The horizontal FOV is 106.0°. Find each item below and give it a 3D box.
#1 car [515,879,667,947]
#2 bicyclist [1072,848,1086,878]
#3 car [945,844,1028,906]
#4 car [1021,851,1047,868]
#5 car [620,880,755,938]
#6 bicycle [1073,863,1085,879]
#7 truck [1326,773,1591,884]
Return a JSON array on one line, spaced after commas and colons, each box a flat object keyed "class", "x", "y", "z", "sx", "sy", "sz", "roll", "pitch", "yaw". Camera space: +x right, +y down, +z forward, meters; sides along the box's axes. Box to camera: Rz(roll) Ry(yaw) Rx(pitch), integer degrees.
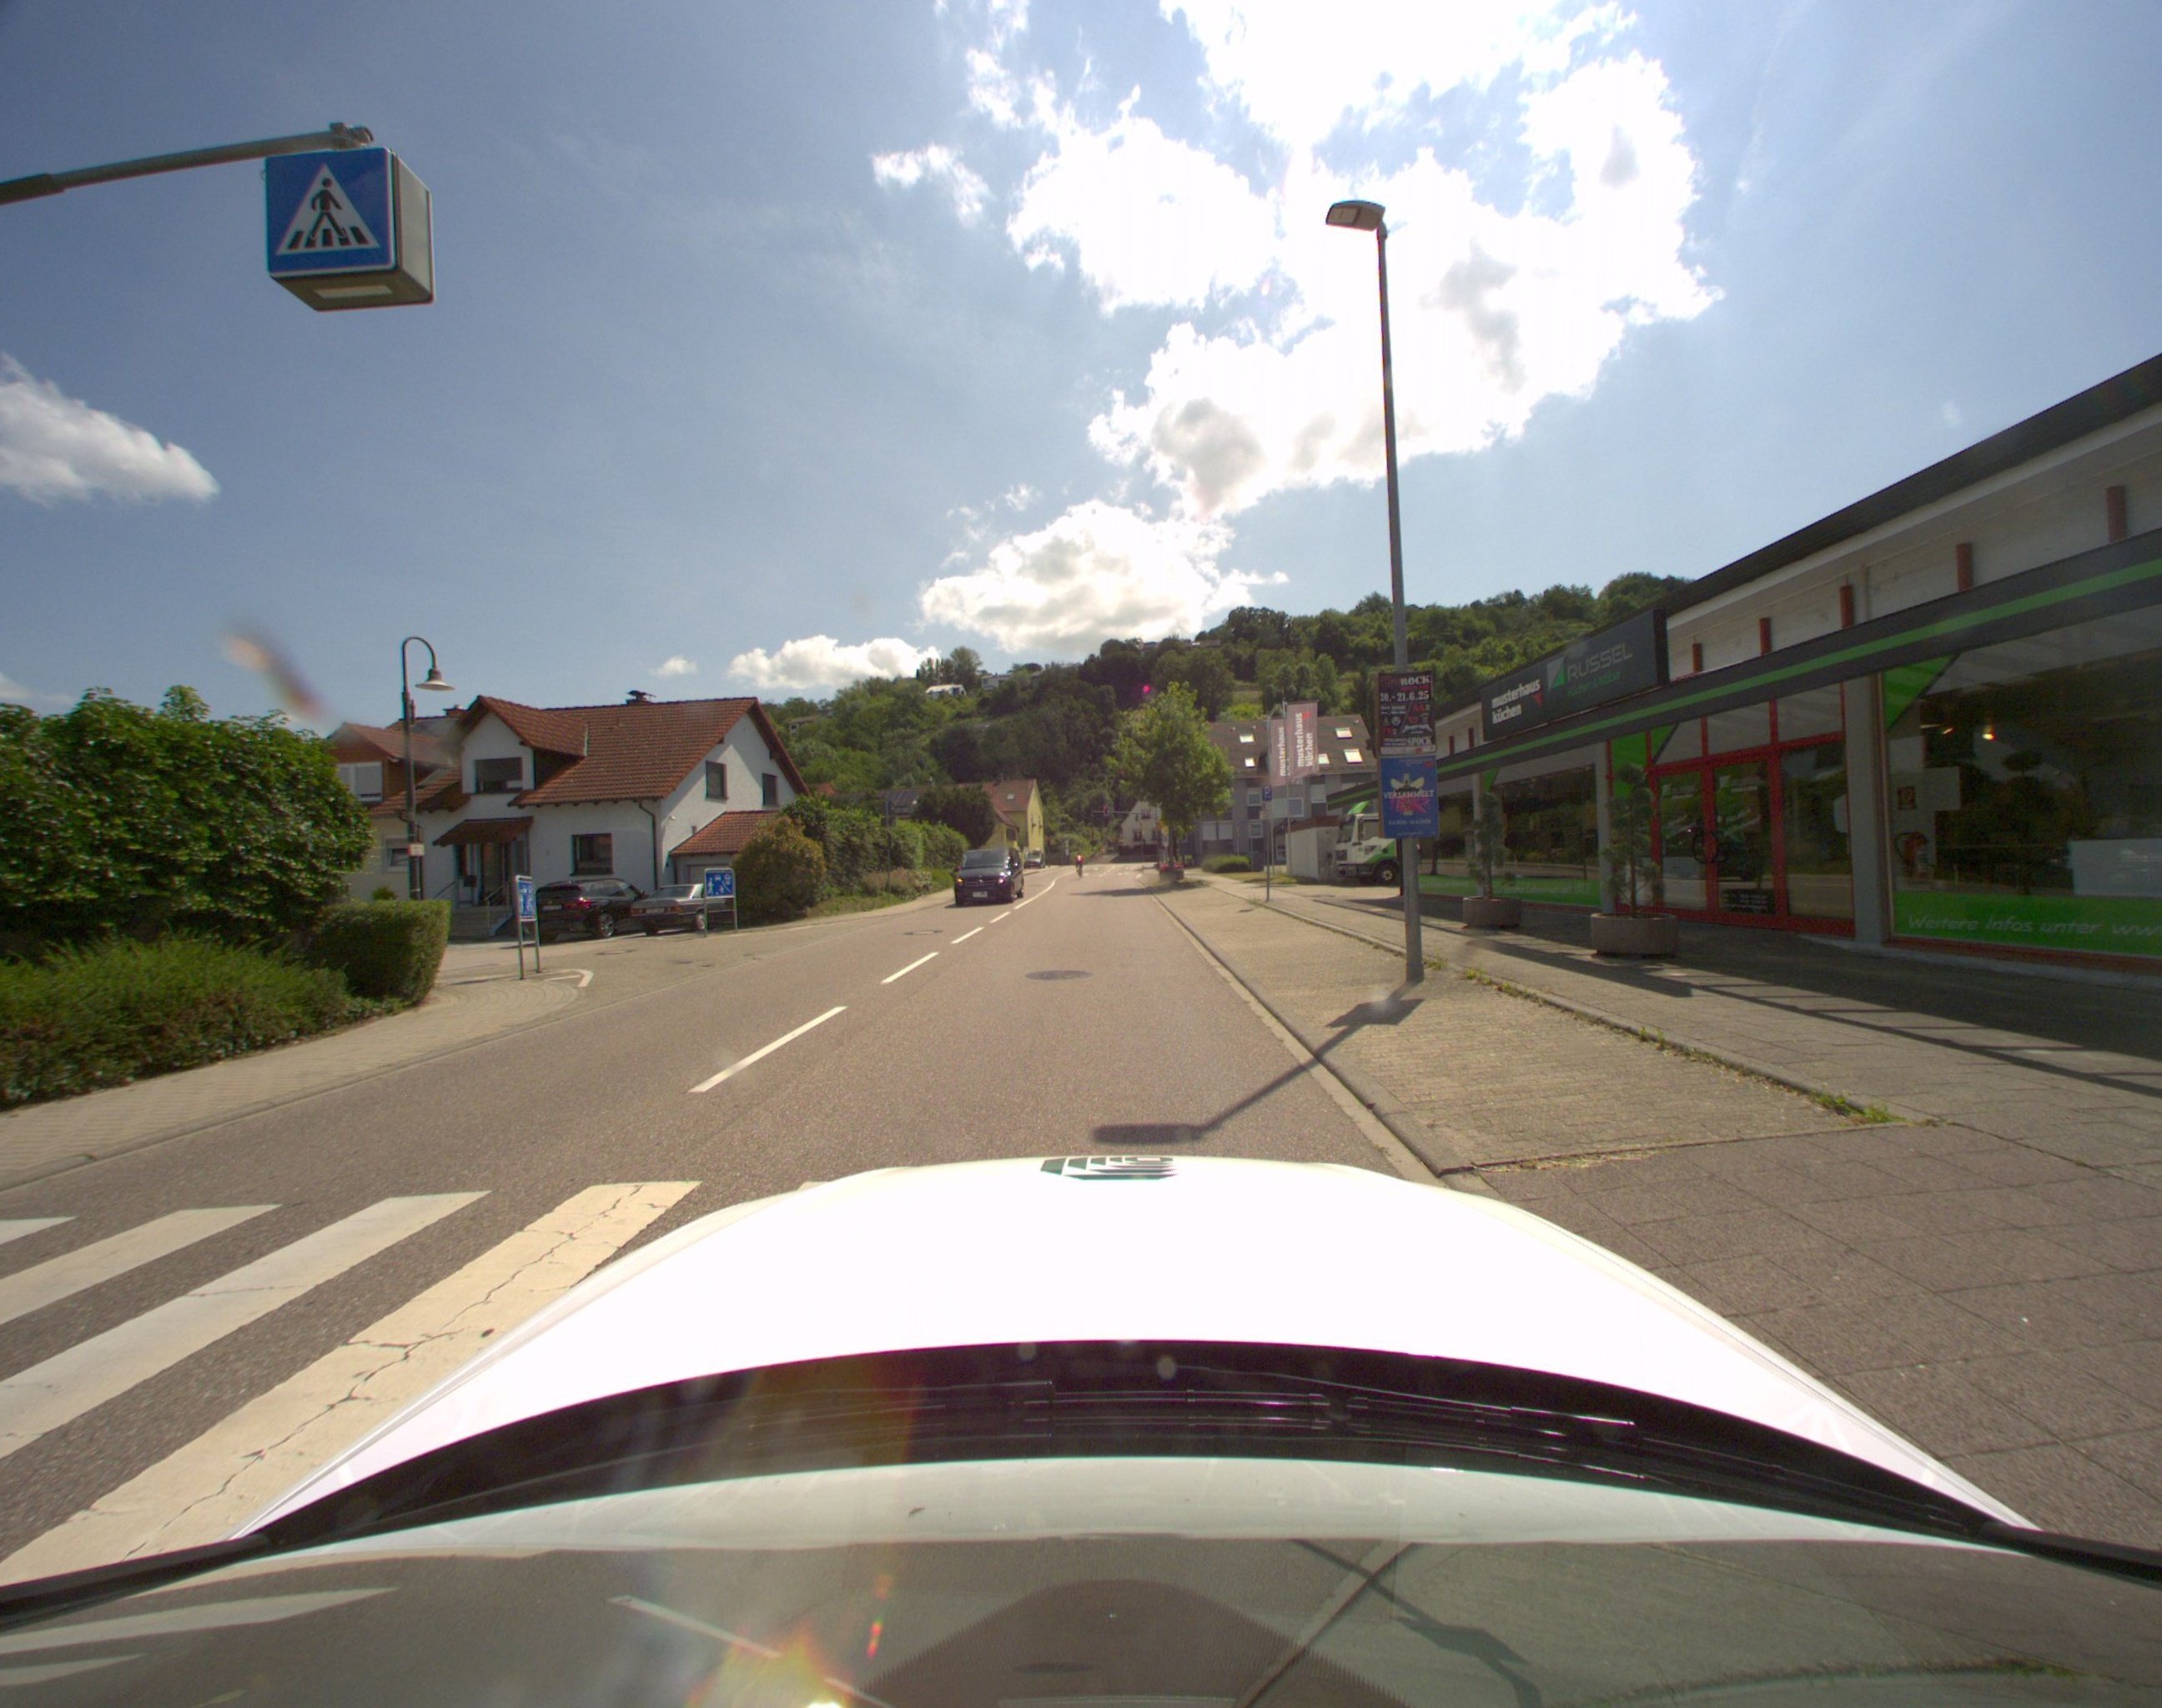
[{"class": "car", "x": -13.864, "y": 1.599, "z": 23.335, "sx": 1.759, "sy": 1.550, "sz": 4.002, "roll": -3, "pitch": 0, "yaw": 2}, {"class": "bicyclist", "x": -0.108, "y": 0.511, "z": 47.187, "sx": 0.758, "sy": 1.664, "sz": 0.869, "roll": -1, "pitch": 0, "yaw": 0}, {"class": "car", "x": -3.133, "y": 0.662, "z": 28.120, "sx": 1.986, "sy": 1.852, "sz": 5.072, "roll": -3, "pitch": 0, "yaw": 2}, {"class": "car", "x": -4.701, "y": 0.499, "z": 82.339, "sx": 1.984, "sy": 1.635, "sz": 4.635, "roll": -1, "pitch": 0, "yaw": 4}, {"class": "car", "x": -11.335, "y": 1.532, "z": 23.818, "sx": 1.653, "sy": 1.285, "sz": 4.005, "roll": -5, "pitch": 0, "yaw": 5}, {"class": "bicycle", "x": -0.116, "y": 0.972, "z": 47.260, "sx": 0.627, "sy": 0.905, "sz": 1.657, "roll": -1, "pitch": 0, "yaw": 1}, {"class": "truck", "x": 13.274, "y": -0.846, "z": 29.151, "sx": 8.140, "sy": 3.573, "sz": 2.678, "roll": -2, "pitch": -1, "yaw": 1}]
